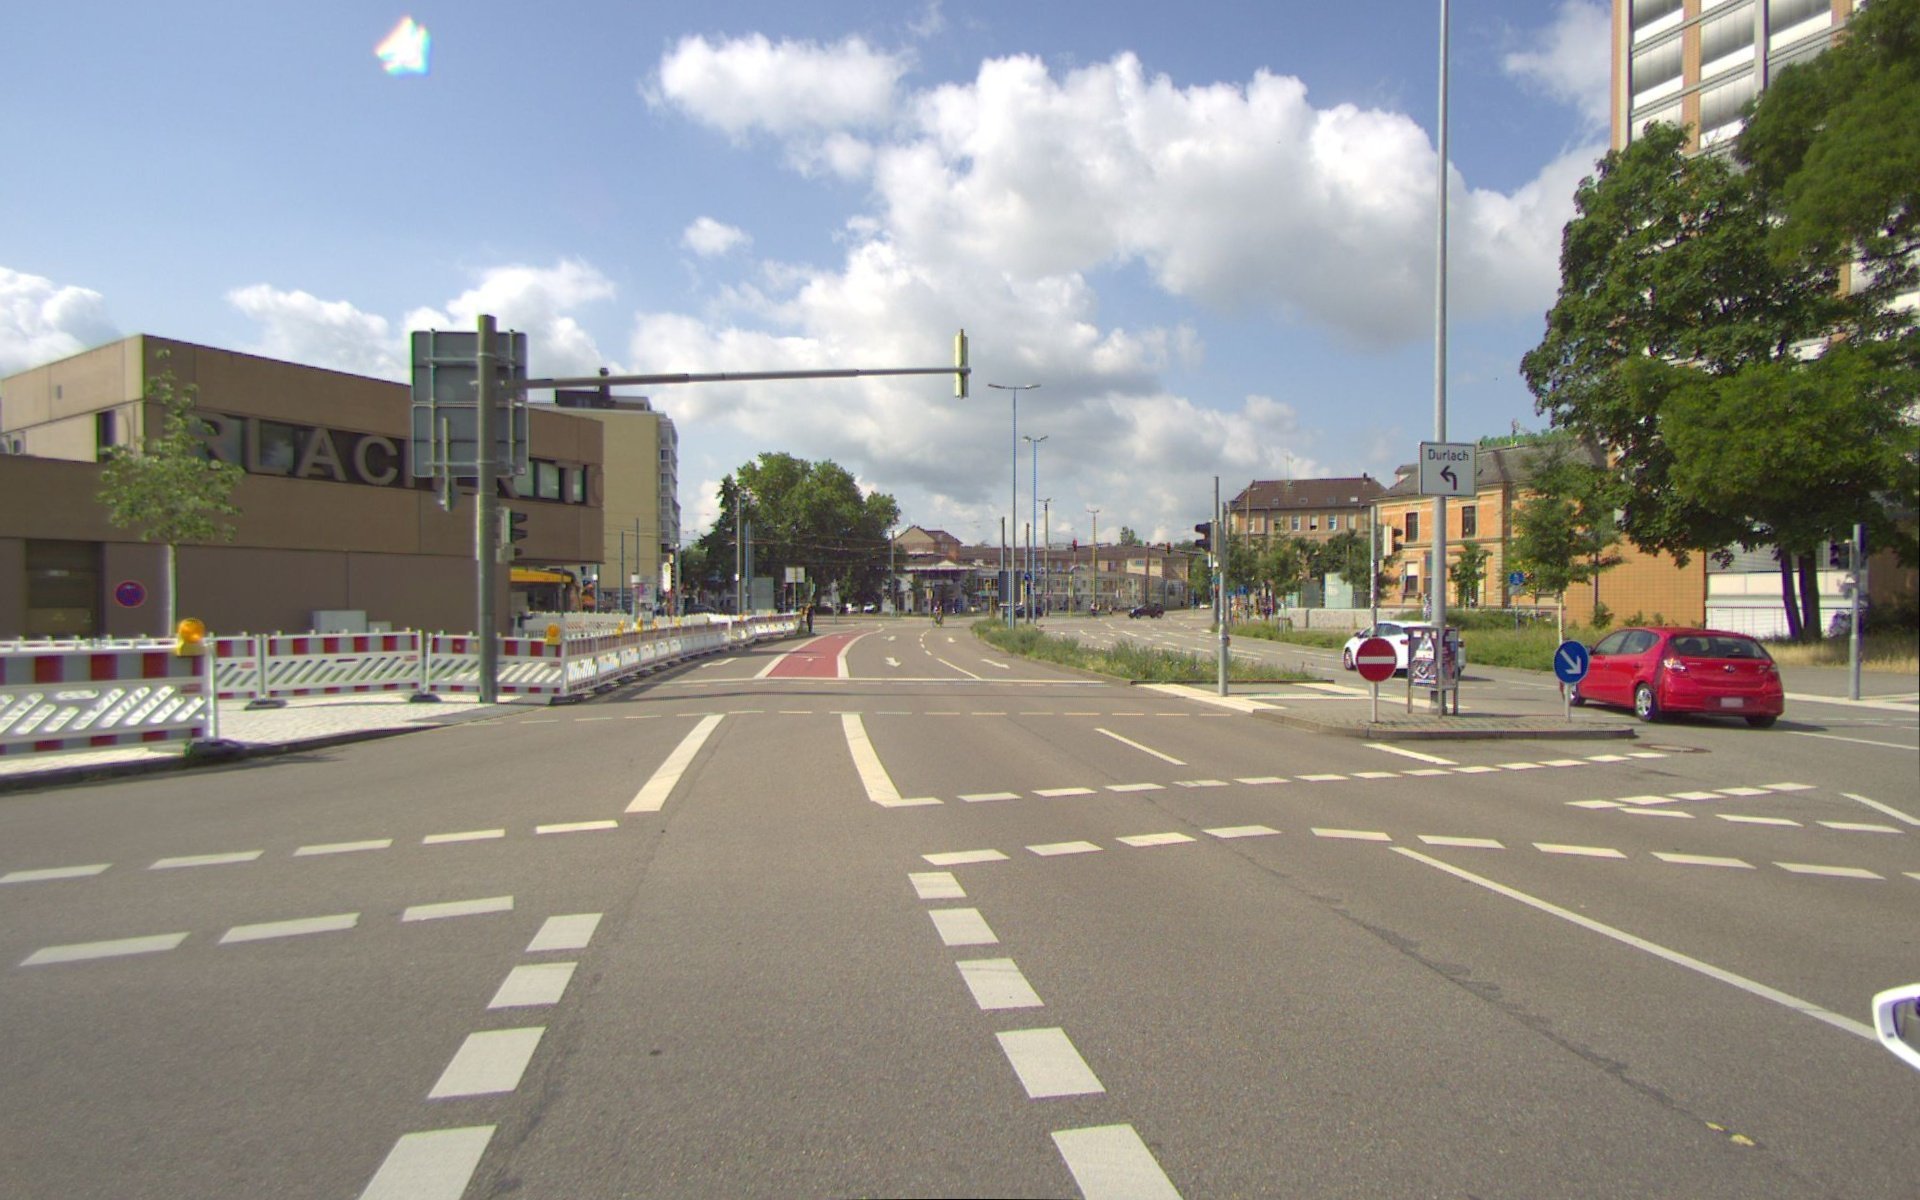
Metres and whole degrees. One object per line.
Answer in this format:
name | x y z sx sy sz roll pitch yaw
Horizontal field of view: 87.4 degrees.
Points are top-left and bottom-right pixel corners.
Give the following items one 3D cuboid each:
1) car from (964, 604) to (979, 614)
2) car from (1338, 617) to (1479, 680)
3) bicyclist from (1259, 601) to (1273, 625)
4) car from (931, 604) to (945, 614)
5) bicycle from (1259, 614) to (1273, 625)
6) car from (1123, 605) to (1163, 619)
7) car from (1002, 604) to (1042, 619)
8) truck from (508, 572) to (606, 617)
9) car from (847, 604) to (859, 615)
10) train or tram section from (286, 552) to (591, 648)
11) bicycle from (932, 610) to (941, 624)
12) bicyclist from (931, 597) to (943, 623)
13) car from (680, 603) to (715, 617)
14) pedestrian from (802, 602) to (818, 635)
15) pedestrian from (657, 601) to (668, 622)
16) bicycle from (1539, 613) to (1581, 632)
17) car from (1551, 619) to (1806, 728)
car | 1.866 1.527 166.875 1.964 1.617 3.994 0 0 -9
car | 11.820 1.233 26.822 1.817 1.492 4.335 0 0 0
bicyclist | 22.406 0.920 73.590 0.723 1.725 0.966 -1 0 6
car | -3.636 1.502 165.538 1.962 1.573 4.075 0 0 -4
bicycle | 22.384 1.418 73.487 0.614 0.821 1.790 -1 0 6
car | 20.557 1.310 112.895 4.011 1.528 1.809 0 0 -14
car | 6.749 1.262 108.838 4.011 1.528 1.809 0 0 -14
truck | -35.866 -0.485 89.597 7.805 3.907 2.194 0 0 -14
car | -17.838 1.512 167.850 1.769 1.793 3.998 0 0 -4
train or tram section | -22.210 0.044 44.116 2.621 3.620 12.387 0 0 31
bicycle | -1.729 1.225 74.174 0.606 1.015 2.019 0 0 2
bicyclist | -1.704 0.742 74.157 0.797 1.847 1.159 0 0 1
car | -31.250 1.181 119.350 3.936 1.684 1.992 1 0 -18
pedestrian | -7.779 0.979 52.184 0.724 1.704 0.641 0 0 -2
pedestrian | -26.564 1.029 89.779 0.687 1.885 0.819 0 0 2
bicycle | 35.849 1.344 60.024 0.659 1.087 2.053 0 0 -33
car | 11.556 1.089 16.542 1.785 1.459 4.070 1 0 10
